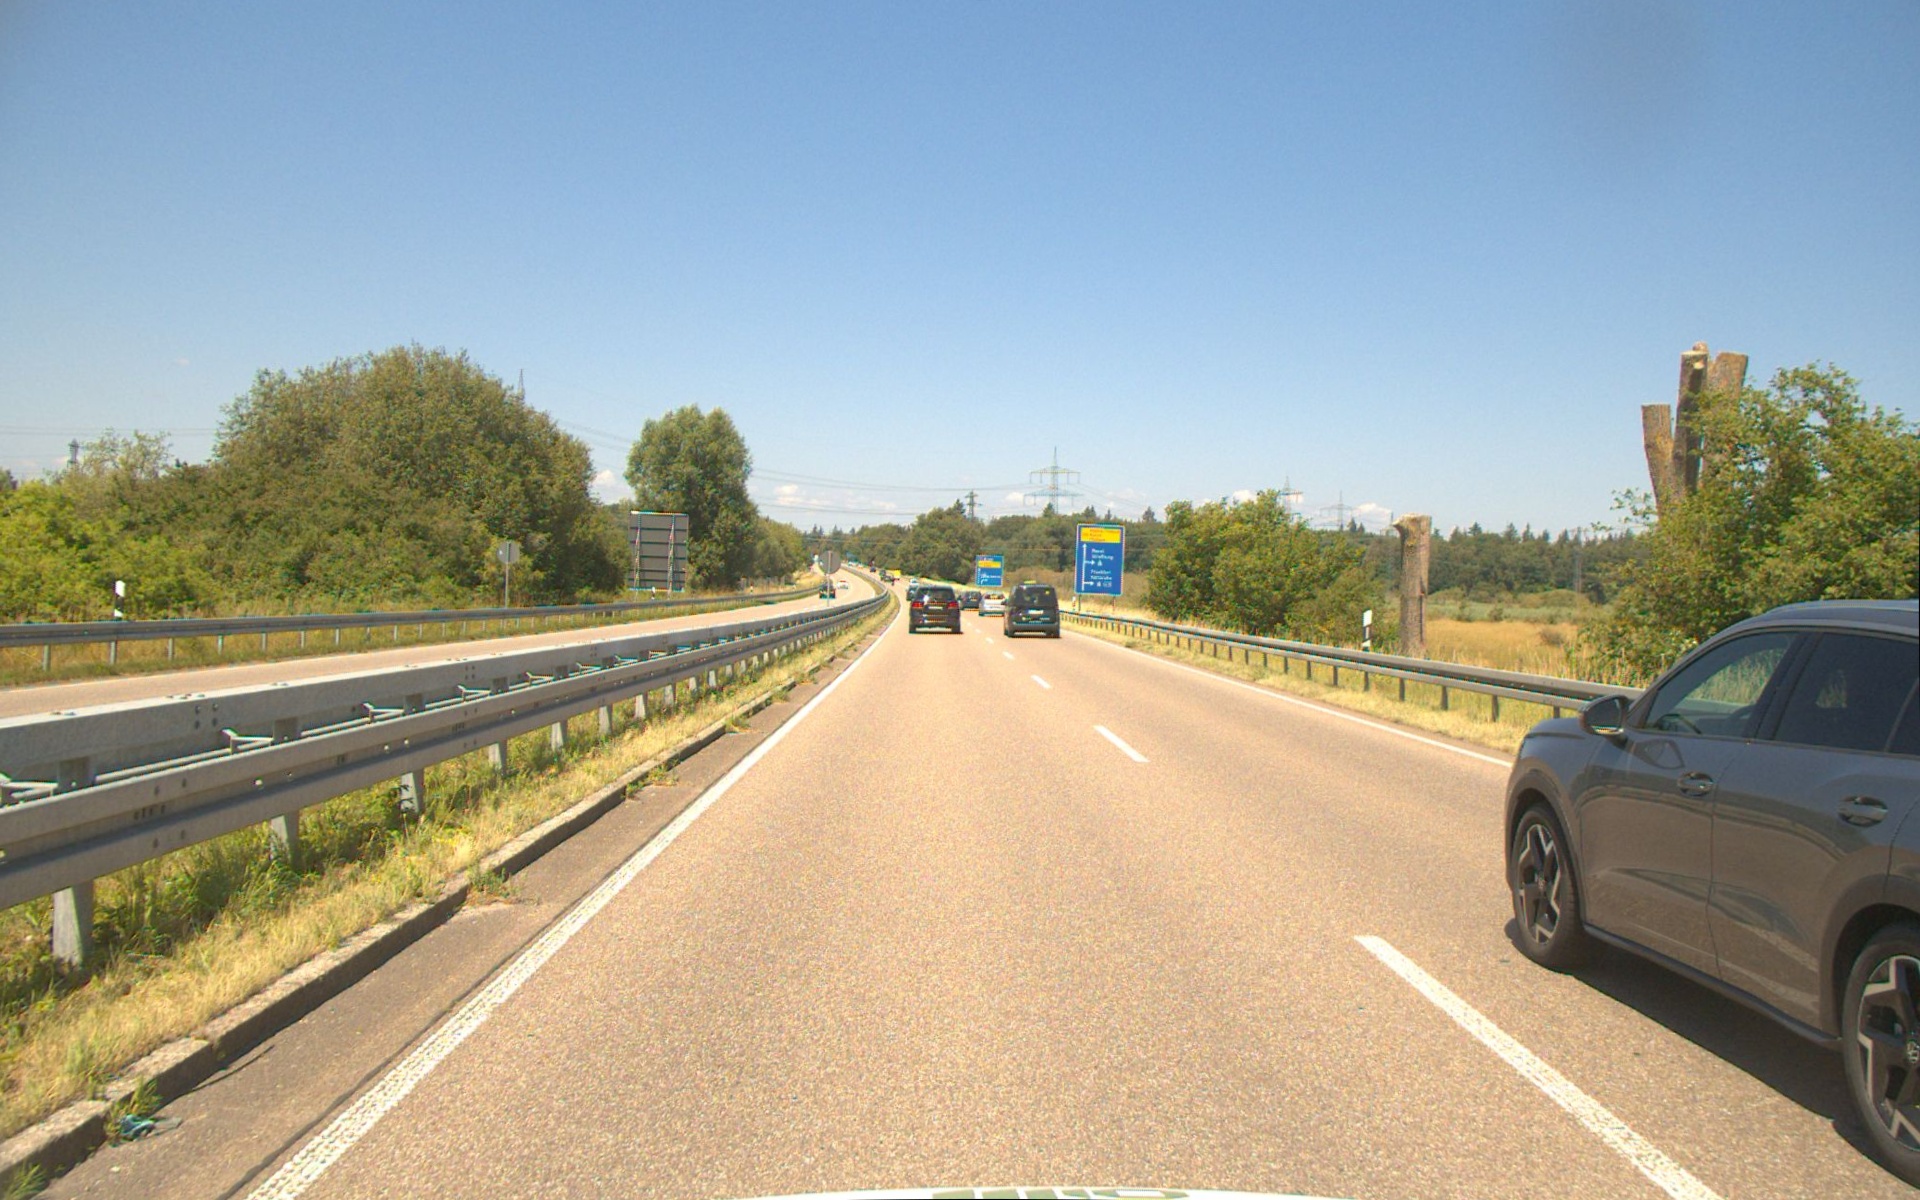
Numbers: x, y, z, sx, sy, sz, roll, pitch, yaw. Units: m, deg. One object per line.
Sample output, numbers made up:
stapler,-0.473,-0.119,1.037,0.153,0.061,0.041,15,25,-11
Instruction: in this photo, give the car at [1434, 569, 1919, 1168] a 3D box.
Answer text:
car,3.346,0.686,6.404,1.749,1.580,4.018,1,1,-2

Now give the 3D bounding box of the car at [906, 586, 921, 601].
car,-4.992,-0.730,178.791,1.485,1.500,3.065,4,1,-3

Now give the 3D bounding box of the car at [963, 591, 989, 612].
car,1.187,0.080,123.192,1.783,1.439,3.999,1,1,-2

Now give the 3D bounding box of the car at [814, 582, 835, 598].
car,-15.189,-1.105,185.636,1.953,1.665,4.872,4,1,-1

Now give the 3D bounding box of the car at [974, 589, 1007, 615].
car,1.858,0.096,101.623,1.743,1.505,4.313,1,0,-3

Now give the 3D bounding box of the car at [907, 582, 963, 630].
car,-0.958,0.200,61.438,1.954,1.683,3.998,1,0,-3

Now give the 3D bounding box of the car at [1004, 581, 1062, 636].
car,2.542,0.280,58.289,1.743,1.848,4.212,1,0,-1
